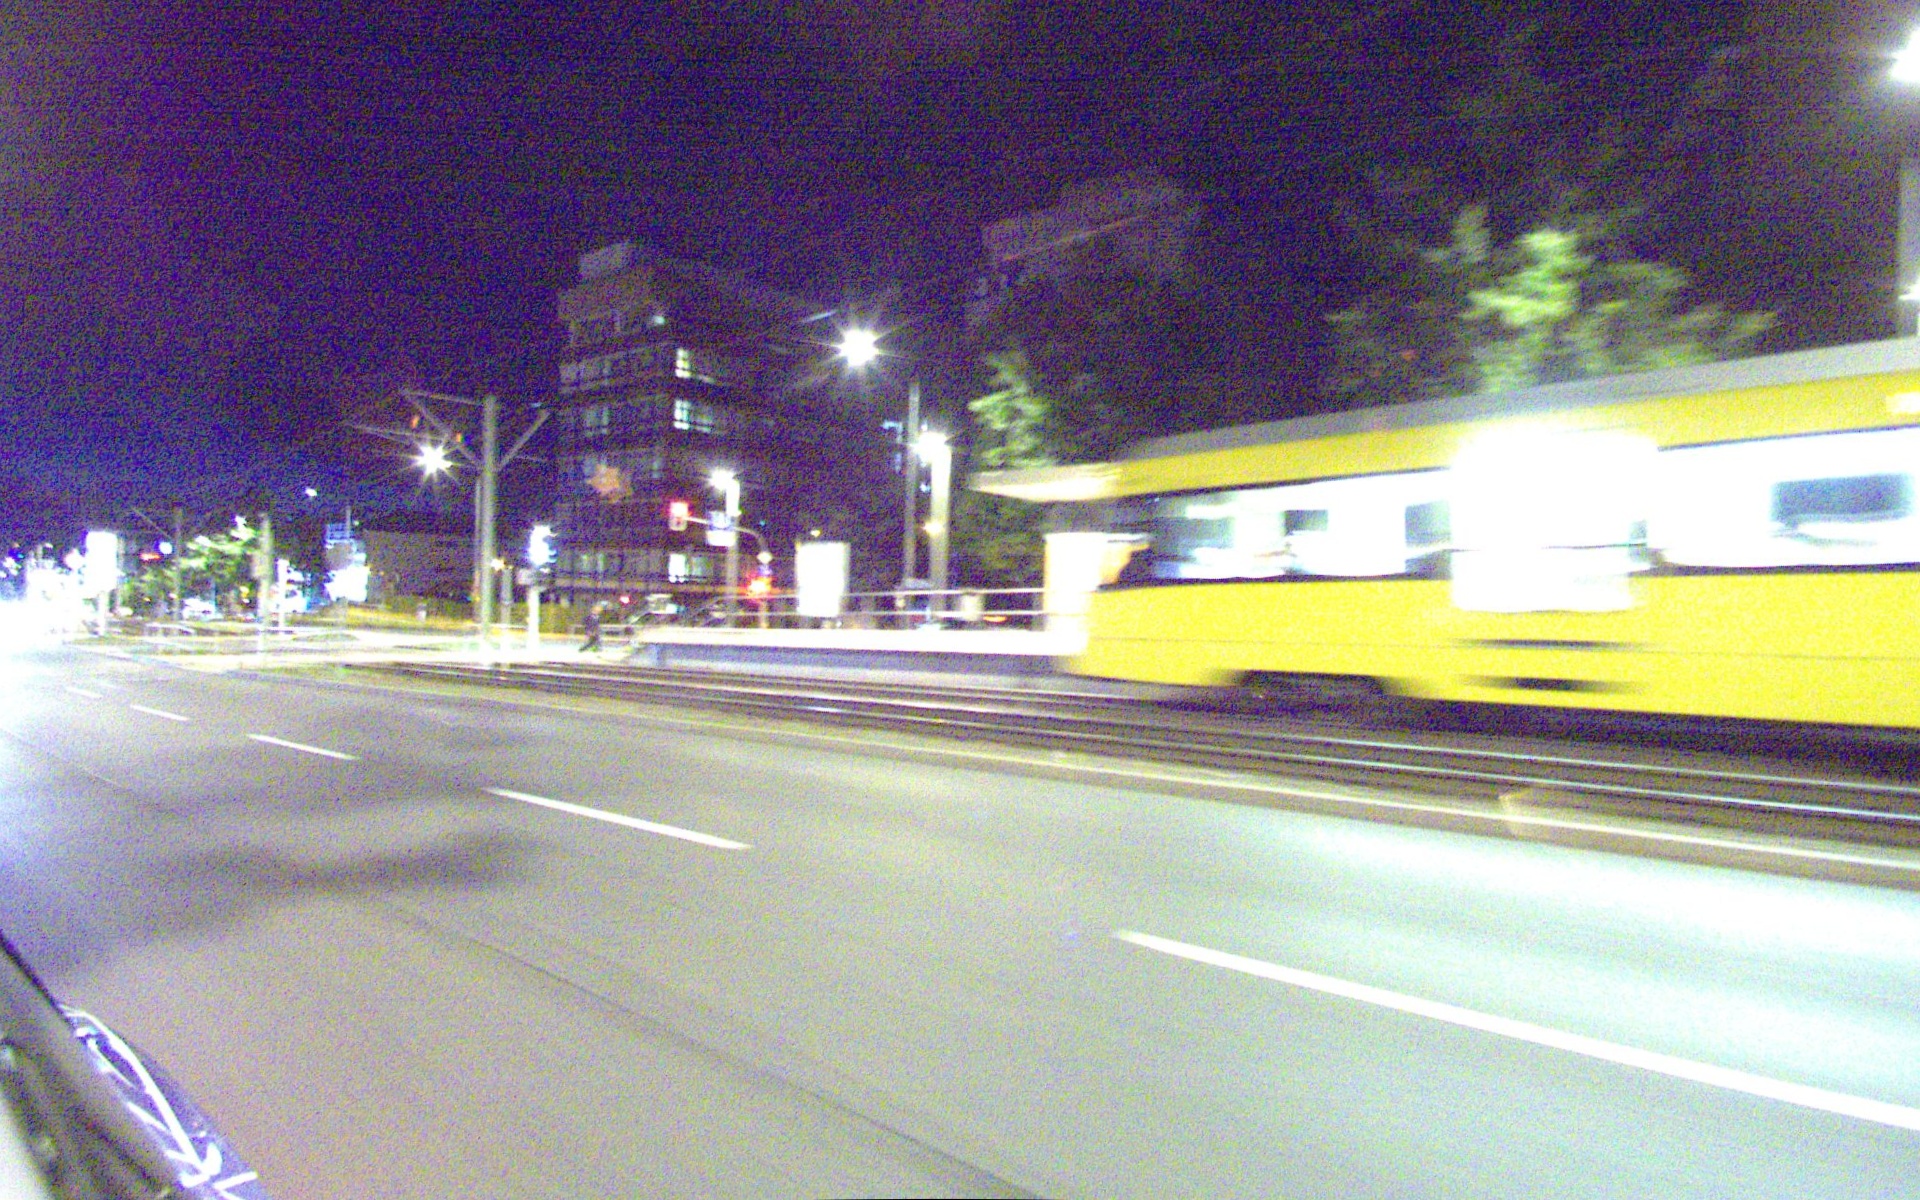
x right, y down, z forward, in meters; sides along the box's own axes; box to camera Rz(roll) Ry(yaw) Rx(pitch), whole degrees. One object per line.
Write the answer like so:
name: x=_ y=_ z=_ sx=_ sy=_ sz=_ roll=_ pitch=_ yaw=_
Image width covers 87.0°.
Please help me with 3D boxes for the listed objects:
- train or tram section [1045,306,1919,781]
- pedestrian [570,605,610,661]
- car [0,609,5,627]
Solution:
train or tram section: x=9.191 y=-0.466 z=8.862 sx=19.364 sy=3.875 sz=2.708 roll=-1 pitch=-1 yaw=43
pedestrian: x=-11.460 y=1.019 z=31.364 sx=1.038 sy=1.701 sz=0.823 roll=1 pitch=-2 yaw=-13
car: x=-89.178 y=1.671 z=92.970 sx=3.719 sy=1.630 sz=1.882 roll=0 pitch=-1 yaw=43
